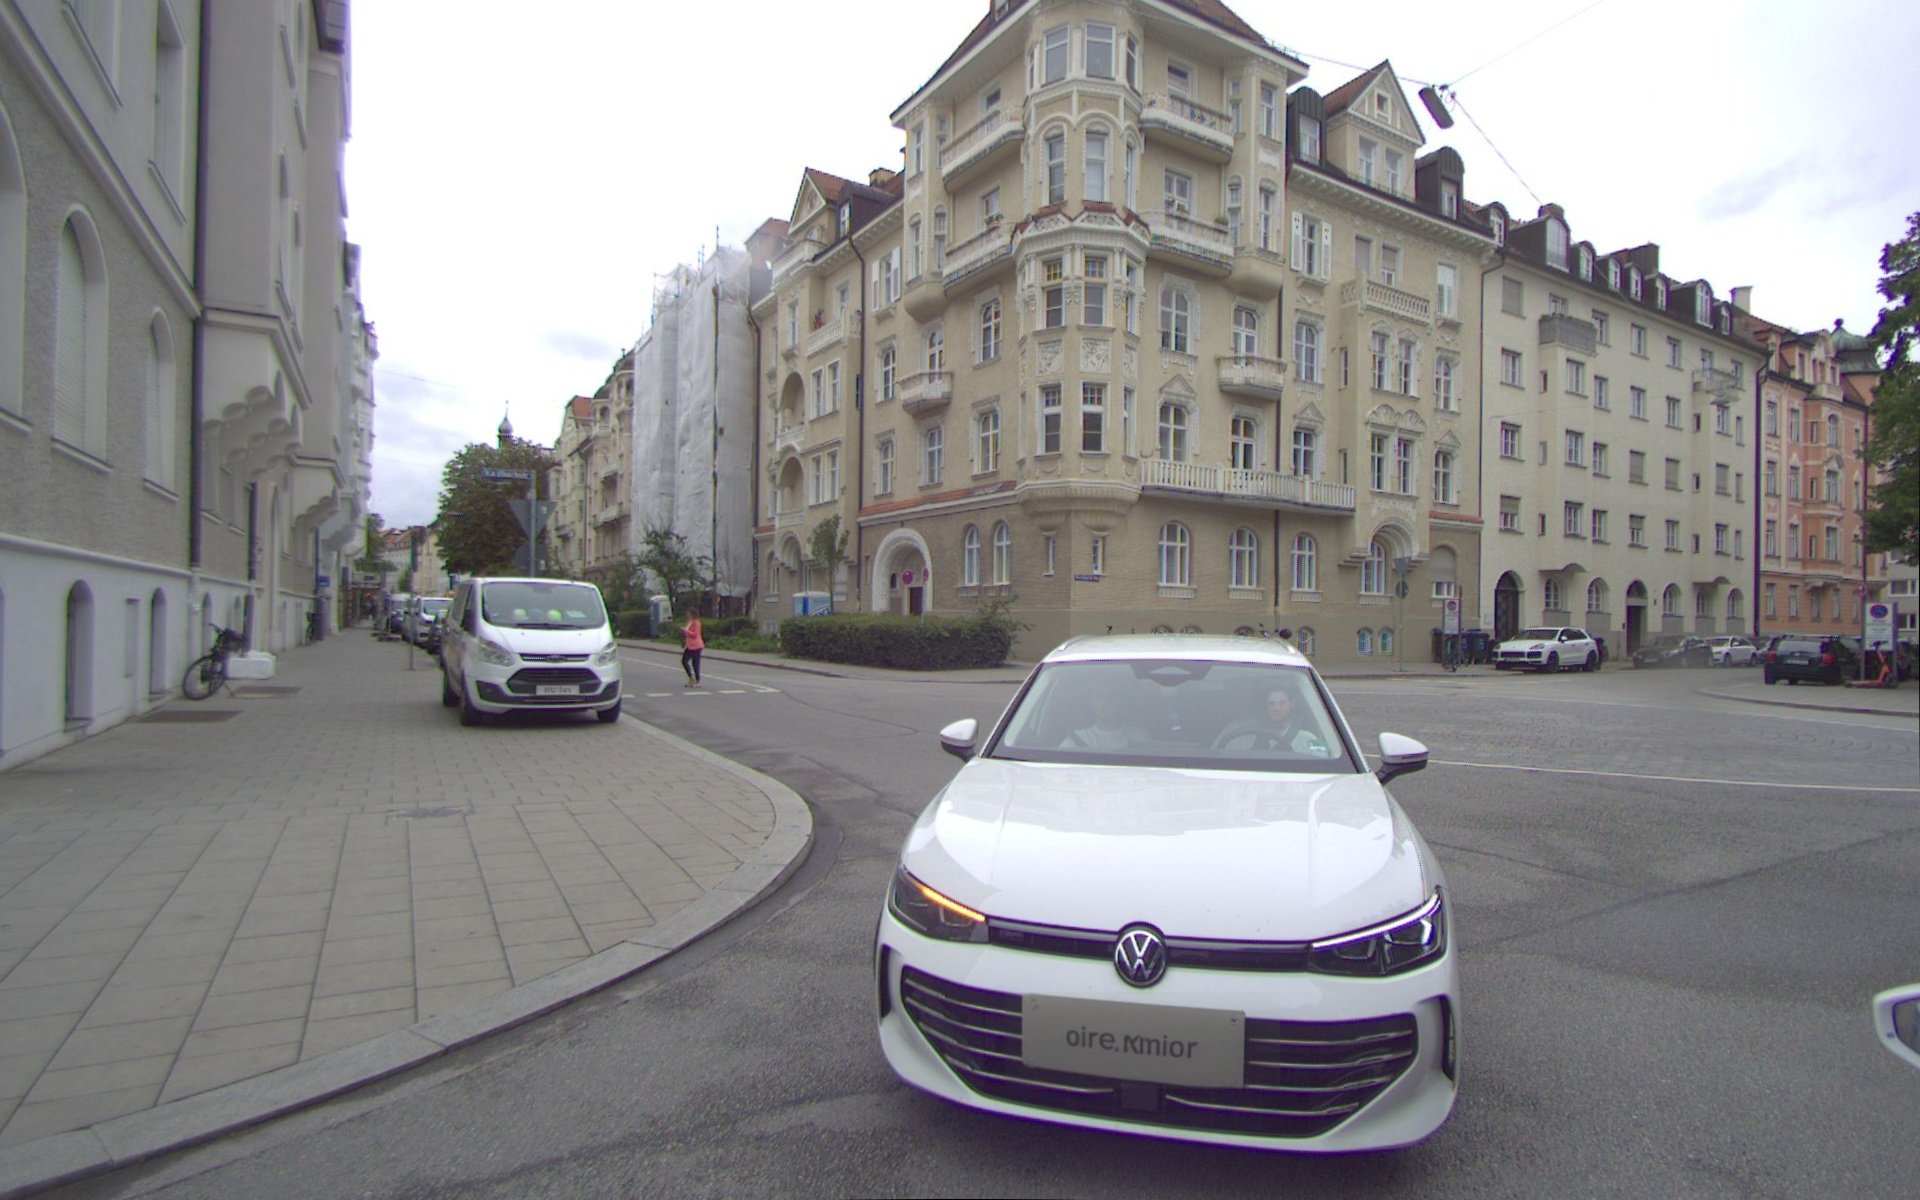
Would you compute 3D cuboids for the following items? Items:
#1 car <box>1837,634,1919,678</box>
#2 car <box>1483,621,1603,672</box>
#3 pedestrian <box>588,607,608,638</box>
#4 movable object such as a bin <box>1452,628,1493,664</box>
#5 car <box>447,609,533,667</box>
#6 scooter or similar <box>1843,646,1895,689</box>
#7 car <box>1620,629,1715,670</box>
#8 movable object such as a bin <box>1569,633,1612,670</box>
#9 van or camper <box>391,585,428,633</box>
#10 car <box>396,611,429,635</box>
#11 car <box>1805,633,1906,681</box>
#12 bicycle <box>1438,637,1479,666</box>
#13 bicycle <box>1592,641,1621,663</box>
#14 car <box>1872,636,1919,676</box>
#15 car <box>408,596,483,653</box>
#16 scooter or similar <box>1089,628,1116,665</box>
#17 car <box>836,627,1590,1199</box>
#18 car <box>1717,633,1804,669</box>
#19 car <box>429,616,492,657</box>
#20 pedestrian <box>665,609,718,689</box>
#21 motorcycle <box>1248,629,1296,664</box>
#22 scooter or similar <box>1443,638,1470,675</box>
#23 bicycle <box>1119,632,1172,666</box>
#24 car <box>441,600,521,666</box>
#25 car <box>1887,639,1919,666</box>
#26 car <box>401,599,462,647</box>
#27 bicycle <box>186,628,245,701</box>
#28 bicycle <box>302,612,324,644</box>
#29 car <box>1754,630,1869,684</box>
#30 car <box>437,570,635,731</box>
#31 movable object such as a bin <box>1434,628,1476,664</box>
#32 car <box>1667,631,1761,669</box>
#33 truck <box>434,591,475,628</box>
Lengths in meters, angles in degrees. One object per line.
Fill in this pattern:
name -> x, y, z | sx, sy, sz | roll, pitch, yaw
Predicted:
car -> 33.564, 2.013, 36.515 | 4.078, 1.525, 1.780 | 2, -3, -38
car -> 21.788, 1.712, 37.498 | 4.790, 1.723, 1.964 | 2, -1, -34
pedestrian -> -21.031, 1.299, 58.366 | 0.867, 1.749, 1.043 | 2, -1, -32
movable object such as a bin -> 21.186, 1.893, 41.540 | 1.160, 1.444, 1.085 | 2, -1, -31
car -> -12.108, 0.944, 25.780 | 1.677, 1.364, 3.651 | 2, -2, -30
scooter or similar -> 24.673, 1.813, 27.274 | 0.984, 1.103, 0.390 | 1, -1, 31
car -> 30.497, 2.104, 43.273 | 4.668, 1.637, 1.962 | 2, -1, -36
movable object such as a bin -> 25.310, 2.052, 40.326 | 1.160, 1.444, 1.085 | 2, -1, -31
van or camper -> -36.377, 0.586, 66.364 | 1.976, 2.952, 6.389 | 2, -1, -29
car -> -33.169, 1.382, 60.803 | 1.677, 1.364, 3.511 | 2, -2, -30
car -> 30.025, 1.867, 33.648 | 4.197, 1.525, 1.780 | 2, -3, -38
bicycle -> 18.809, 1.939, 37.868 | 1.811, 1.063, 0.559 | 2, -1, -34
bicycle -> 31.567, 2.540, 49.039 | 1.811, 1.063, 0.559 | 2, -1, -34
car -> 38.065, 2.200, 40.082 | 4.078, 1.525, 1.780 | 2, -3, -38
car -> -20.488, 0.974, 39.910 | 2.102, 2.119, 4.778 | 2, -2, -33
scooter or similar -> 4.404, 1.422, 30.974 | 0.459, 1.130, 1.214 | 1, -1, 25
car -> 1.105, 0.897, 4.964 | 1.852, 1.468, 4.894 | 1, -1, 13
car -> 38.824, 2.448, 48.701 | 4.358, 1.602, 1.965 | 2, -1, -31
car -> -17.333, 1.241, 34.787 | 1.678, 1.364, 3.510 | 2, -2, -31
pedestrian -> -5.698, 1.034, 21.338 | 0.848, 1.657, 0.725 | 2, -1, -39
motorcycle -> 11.007, 1.645, 35.402 | 1.811, 1.191, 0.594 | 2, -1, -34
scooter or similar -> 17.281, 1.958, 34.981 | 0.458, 1.209, 1.216 | 1, -1, 7
bicycle -> 5.972, 1.556, 32.287 | 1.811, 1.063, 0.559 | 2, -1, -34
car -> -14.614, 0.993, 30.549 | 2.002, 1.863, 4.106 | 1, -2, -28
car -> 59.586, 3.246, 62.300 | 4.358, 1.602, 1.965 | 2, -1, -31
car -> -23.732, 1.045, 45.031 | 2.101, 2.020, 4.782 | 2, -2, -31
bicycle -> -11.710, 0.983, 15.829 | 0.486, 1.063, 1.816 | 1, -1, -29
bicycle -> -22.483, 0.968, 34.906 | 0.486, 1.063, 1.816 | 1, -1, -29
car -> 25.884, 1.705, 30.480 | 4.383, 1.525, 1.805 | 2, -3, -38
car -> -6.268, 0.641, 14.473 | 1.904, 1.905, 4.869 | 2, -1, -31
movable object such as a bin -> 20.175, 1.865, 40.925 | 1.160, 1.444, 1.085 | 2, -1, -31
car -> 34.517, 2.279, 45.952 | 4.358, 1.602, 1.965 | 2, -1, -32
truck -> -51.839, 0.997, 102.890 | 3.153, 3.671, 8.662 | 1, -1, -30
